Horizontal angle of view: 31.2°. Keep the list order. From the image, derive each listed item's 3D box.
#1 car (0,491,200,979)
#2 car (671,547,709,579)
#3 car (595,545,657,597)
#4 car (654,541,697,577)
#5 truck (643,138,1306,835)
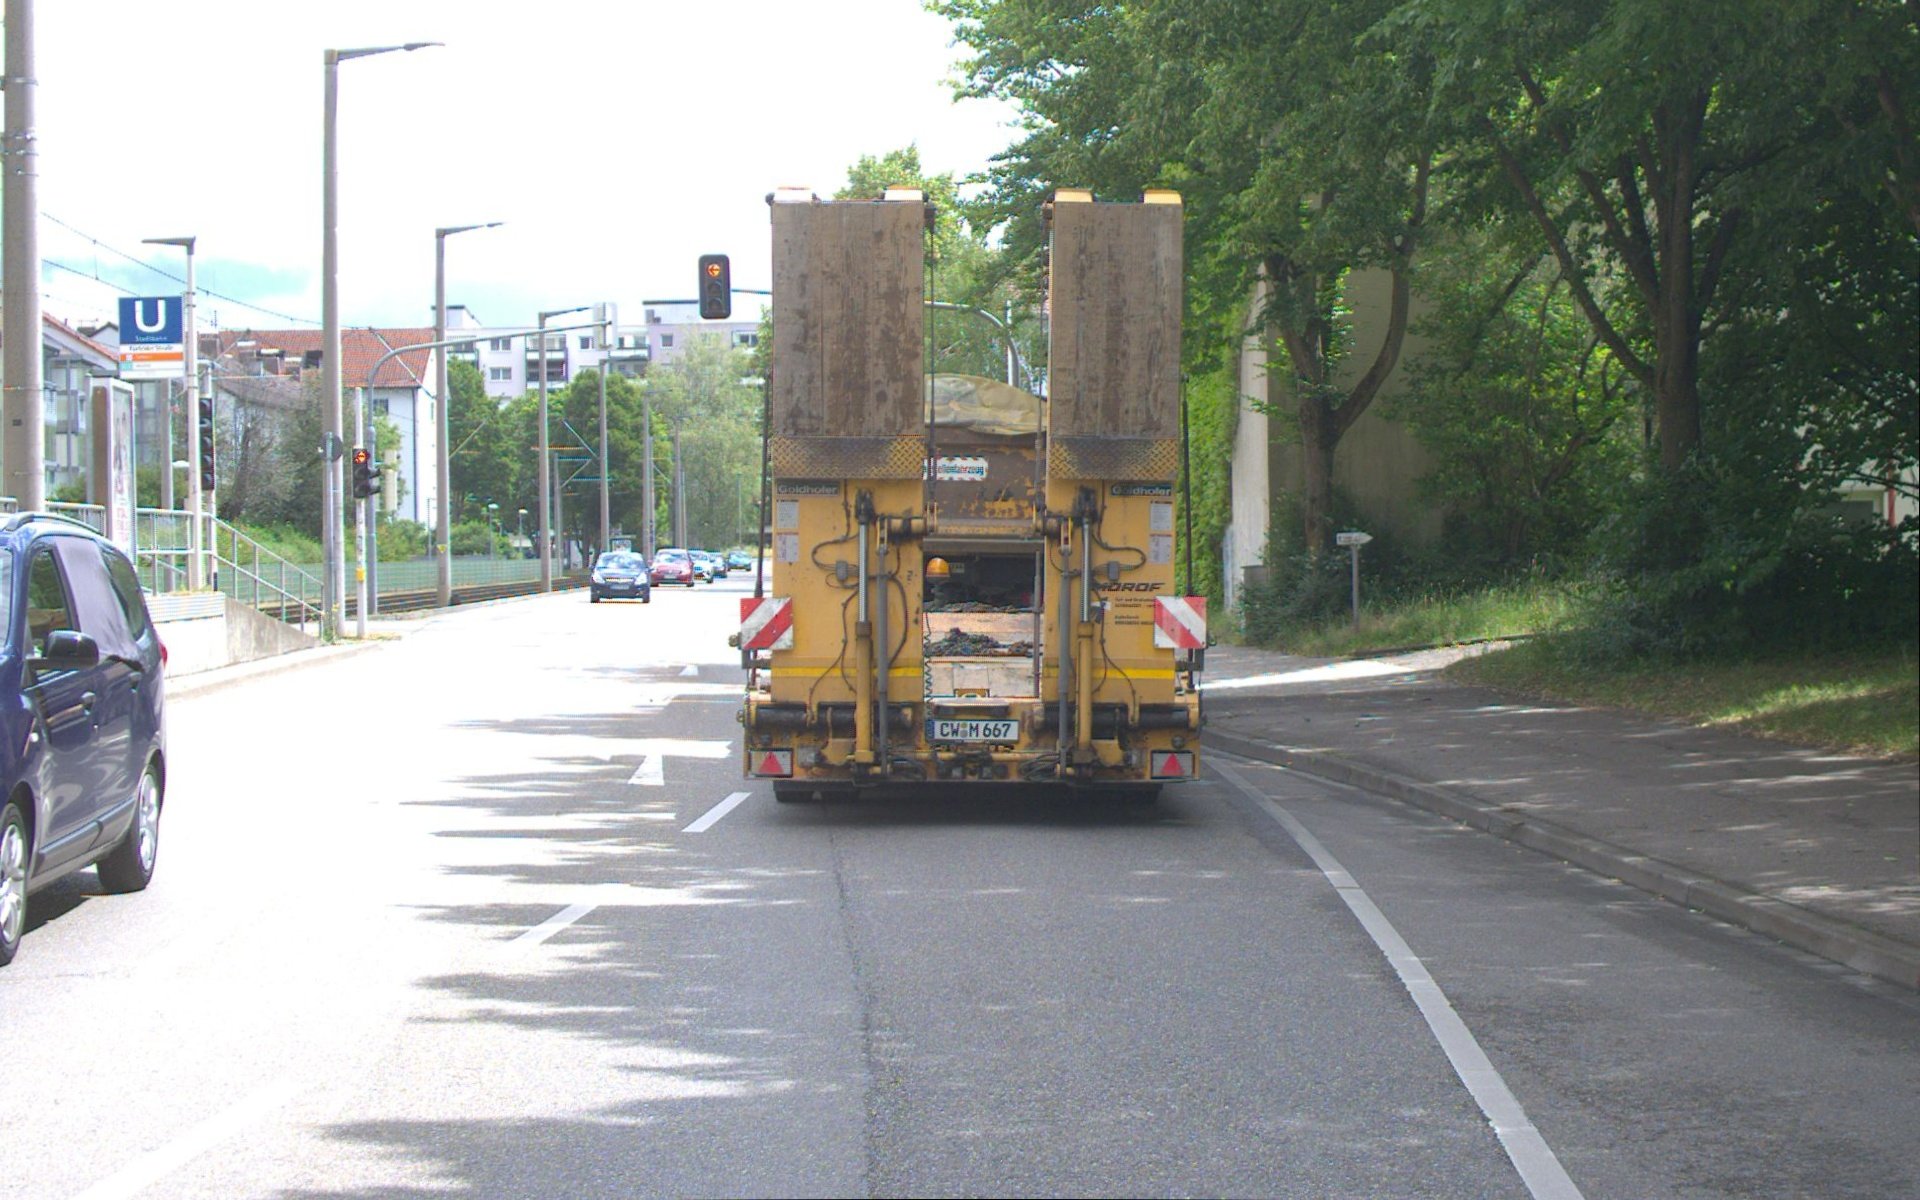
[{"bbox_3d":[-4.246,0.417,13.584,1.720,1.676,4.388,1,1,-3],"label":"car"},{"bbox_3d":[-12.533,-1.727,159.802,1.667,1.448,3.679,1,0,-4],"label":"car"},{"bbox_3d":[-9.638,-0.825,99.378,1.667,1.448,3.679,1,0,-4],"label":"car"},{"bbox_3d":[-11.870,-1.720,143.525,1.667,1.448,3.679,1,0,-4],"label":"car"},{"bbox_3d":[-0.533,-0.749,25.364,3.401,3.719,13.742,-1,1,-6],"label":"truck"}]
